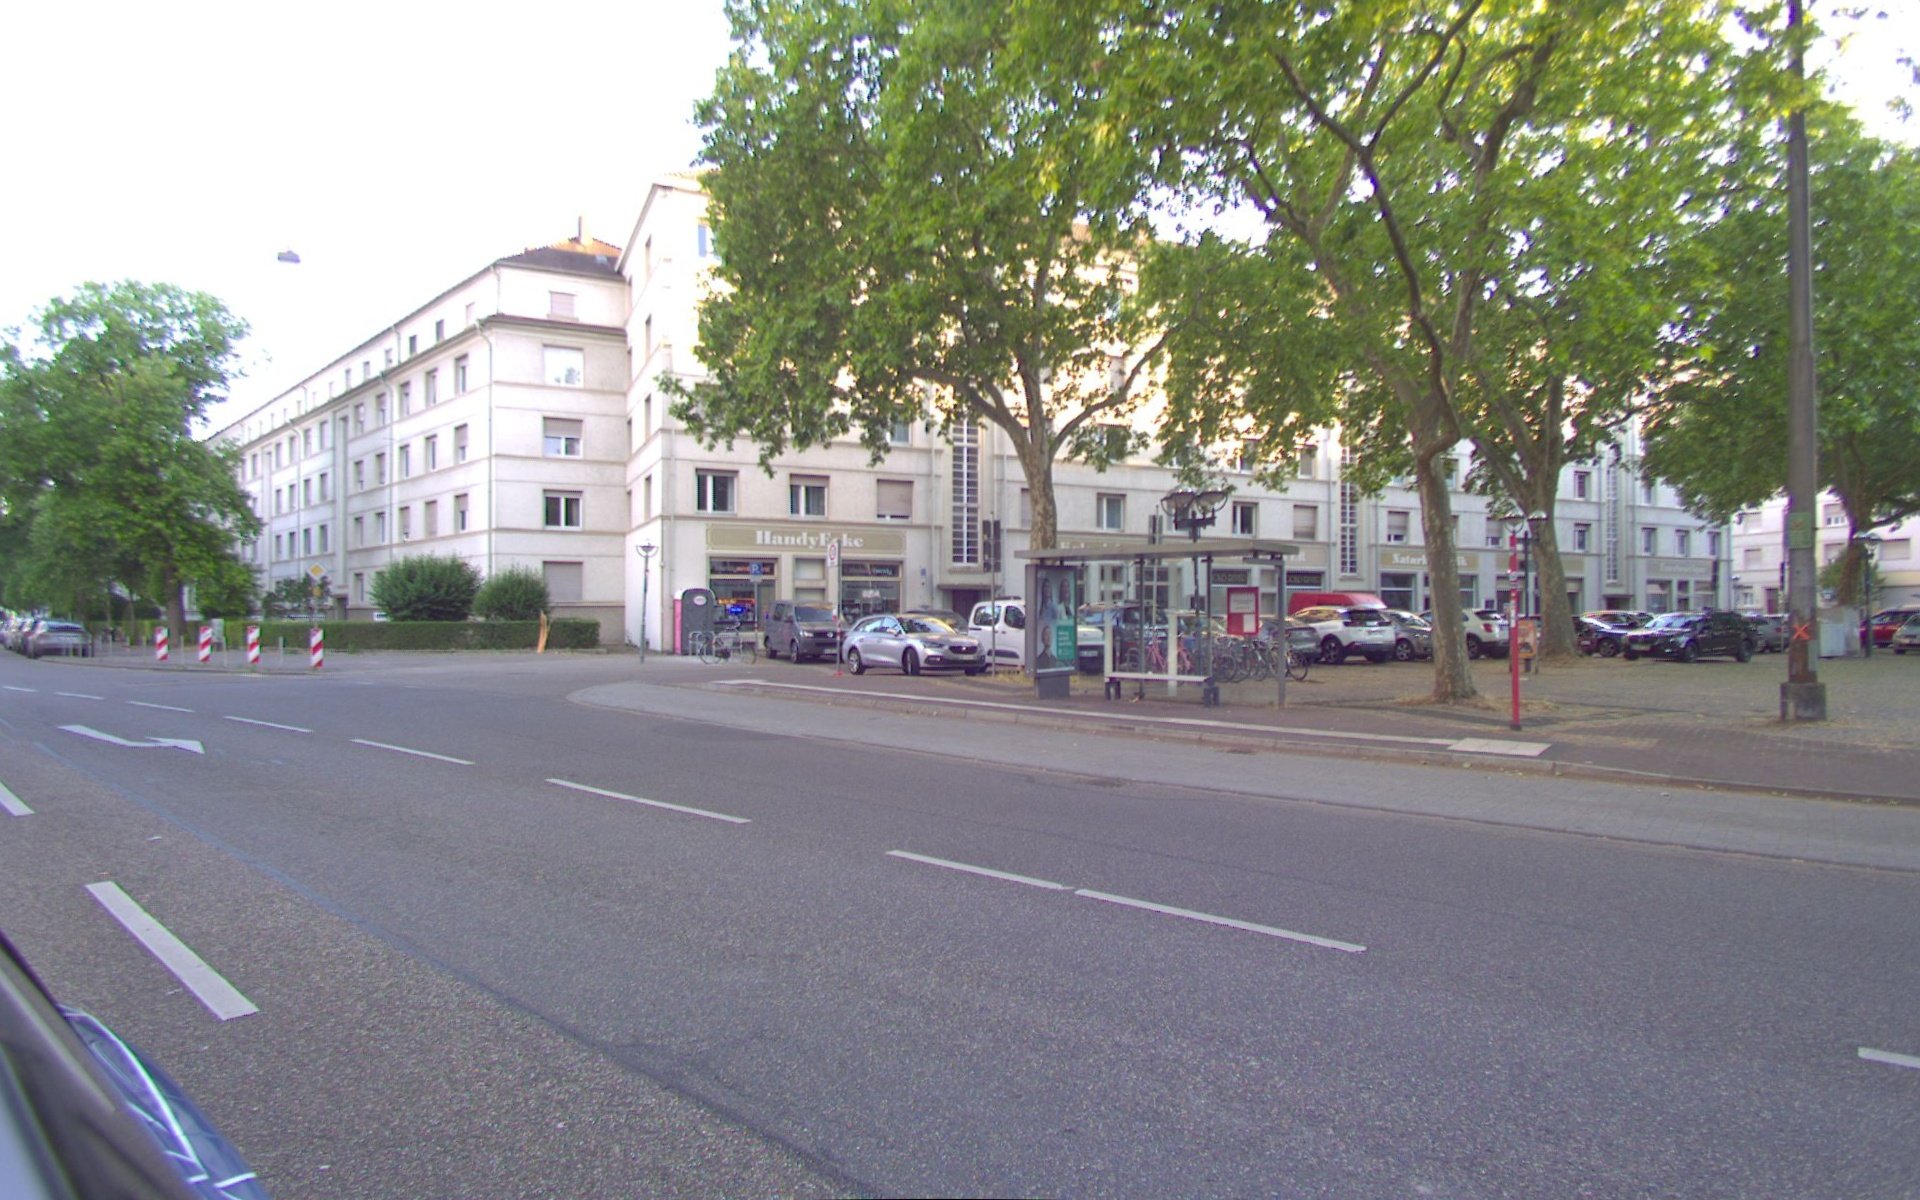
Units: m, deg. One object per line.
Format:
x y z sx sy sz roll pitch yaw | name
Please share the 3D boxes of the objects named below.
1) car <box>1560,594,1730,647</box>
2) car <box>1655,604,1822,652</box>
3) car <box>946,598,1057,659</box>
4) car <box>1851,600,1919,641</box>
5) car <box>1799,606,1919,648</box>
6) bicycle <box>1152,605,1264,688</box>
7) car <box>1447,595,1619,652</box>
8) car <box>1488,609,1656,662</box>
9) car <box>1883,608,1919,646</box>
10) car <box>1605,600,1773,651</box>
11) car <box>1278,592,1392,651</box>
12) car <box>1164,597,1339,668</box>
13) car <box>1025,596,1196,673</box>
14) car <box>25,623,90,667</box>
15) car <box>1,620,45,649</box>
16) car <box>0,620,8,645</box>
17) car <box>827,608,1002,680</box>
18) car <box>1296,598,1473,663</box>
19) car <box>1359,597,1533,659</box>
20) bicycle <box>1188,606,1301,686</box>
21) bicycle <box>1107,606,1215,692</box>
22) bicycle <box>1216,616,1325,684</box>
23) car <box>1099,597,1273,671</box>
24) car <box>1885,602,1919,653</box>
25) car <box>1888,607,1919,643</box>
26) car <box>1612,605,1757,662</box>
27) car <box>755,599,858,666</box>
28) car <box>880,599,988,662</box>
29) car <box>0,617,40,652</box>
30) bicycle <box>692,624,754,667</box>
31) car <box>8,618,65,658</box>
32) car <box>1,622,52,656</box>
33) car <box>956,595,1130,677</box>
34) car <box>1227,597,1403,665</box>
24.737 0.811 36.753 2.057 1.795 4.655 1 -3 -28 | car
29.927 1.135 39.086 1.965 1.748 4.655 1 -3 -28 | car
1.416 0.980 36.597 1.965 1.970 4.656 1 0 -26 | car
43.373 0.925 45.507 1.968 1.824 4.658 2 -4 -38 | car
40.627 1.241 45.103 1.969 1.748 4.648 2 -4 -40 | car
5.235 0.933 21.641 0.795 1.626 2.754 0 0 -24 | bicycle
19.179 0.858 34.109 1.965 1.795 4.655 1 -3 -28 | car
21.362 1.286 35.570 1.965 1.748 4.655 1 -3 -28 | car
45.718 1.211 46.513 1.969 1.748 4.648 2 -4 -40 | car
27.078 1.007 37.768 1.965 1.795 4.655 1 -3 -28 | car
16.643 0.921 45.184 1.965 2.460 4.656 1 0 -26 | car
7.973 0.953 28.204 1.965 1.795 4.655 1 -3 -28 | car
3.763 0.930 26.216 1.965 1.795 4.655 1 -3 -28 | car
-37.335 1.803 41.841 1.867 1.612 4.003 -1 0 -44 | car
-56.486 2.050 60.979 1.867 1.612 4.263 -1 0 -44 | car
-76.327 2.588 79.727 1.867 1.879 4.263 -1 0 -44 | car
-1.194 1.047 23.887 1.967 1.515 4.652 2 -3 -35 | car
12.599 0.954 30.374 1.965 1.795 4.655 1 -3 -28 | car
15.170 0.933 31.875 1.965 1.795 4.655 1 -3 -28 | car
6.174 0.951 22.157 0.795 1.626 2.754 0 0 -24 | bicycle
4.057 0.946 20.713 0.680 1.626 2.754 0 0 -24 | bicycle
6.885 1.071 22.671 0.680 1.394 2.754 0 0 -24 | bicycle
5.919 0.954 27.121 1.965 1.795 4.655 1 -3 -28 | car
33.071 0.896 33.890 3.696 1.674 1.680 -1 0 -23 | car
47.475 1.179 48.129 1.969 1.748 4.648 2 -4 -40 | car
20.749 0.925 28.982 3.696 1.540 1.680 1 0 -23 | car
-5.093 1.005 33.066 1.965 1.970 4.656 1 0 -26 | car
-0.993 1.004 35.412 1.965 1.970 4.656 1 0 -26 | car
-52.888 1.896 56.690 1.867 1.787 4.263 -1 0 -44 | car
-7.172 1.364 30.655 1.776 1.215 0.649 0 0 -16 | bicycle
-43.233 1.716 47.360 1.867 1.703 4.263 -1 0 -44 | car
-48.548 1.984 52.609 1.867 1.612 4.263 -1 0 -44 | car
1.863 0.899 24.494 1.965 1.795 4.655 1 -3 -28 | car
10.119 0.947 29.246 1.965 1.795 4.655 1 -3 -28 | car
